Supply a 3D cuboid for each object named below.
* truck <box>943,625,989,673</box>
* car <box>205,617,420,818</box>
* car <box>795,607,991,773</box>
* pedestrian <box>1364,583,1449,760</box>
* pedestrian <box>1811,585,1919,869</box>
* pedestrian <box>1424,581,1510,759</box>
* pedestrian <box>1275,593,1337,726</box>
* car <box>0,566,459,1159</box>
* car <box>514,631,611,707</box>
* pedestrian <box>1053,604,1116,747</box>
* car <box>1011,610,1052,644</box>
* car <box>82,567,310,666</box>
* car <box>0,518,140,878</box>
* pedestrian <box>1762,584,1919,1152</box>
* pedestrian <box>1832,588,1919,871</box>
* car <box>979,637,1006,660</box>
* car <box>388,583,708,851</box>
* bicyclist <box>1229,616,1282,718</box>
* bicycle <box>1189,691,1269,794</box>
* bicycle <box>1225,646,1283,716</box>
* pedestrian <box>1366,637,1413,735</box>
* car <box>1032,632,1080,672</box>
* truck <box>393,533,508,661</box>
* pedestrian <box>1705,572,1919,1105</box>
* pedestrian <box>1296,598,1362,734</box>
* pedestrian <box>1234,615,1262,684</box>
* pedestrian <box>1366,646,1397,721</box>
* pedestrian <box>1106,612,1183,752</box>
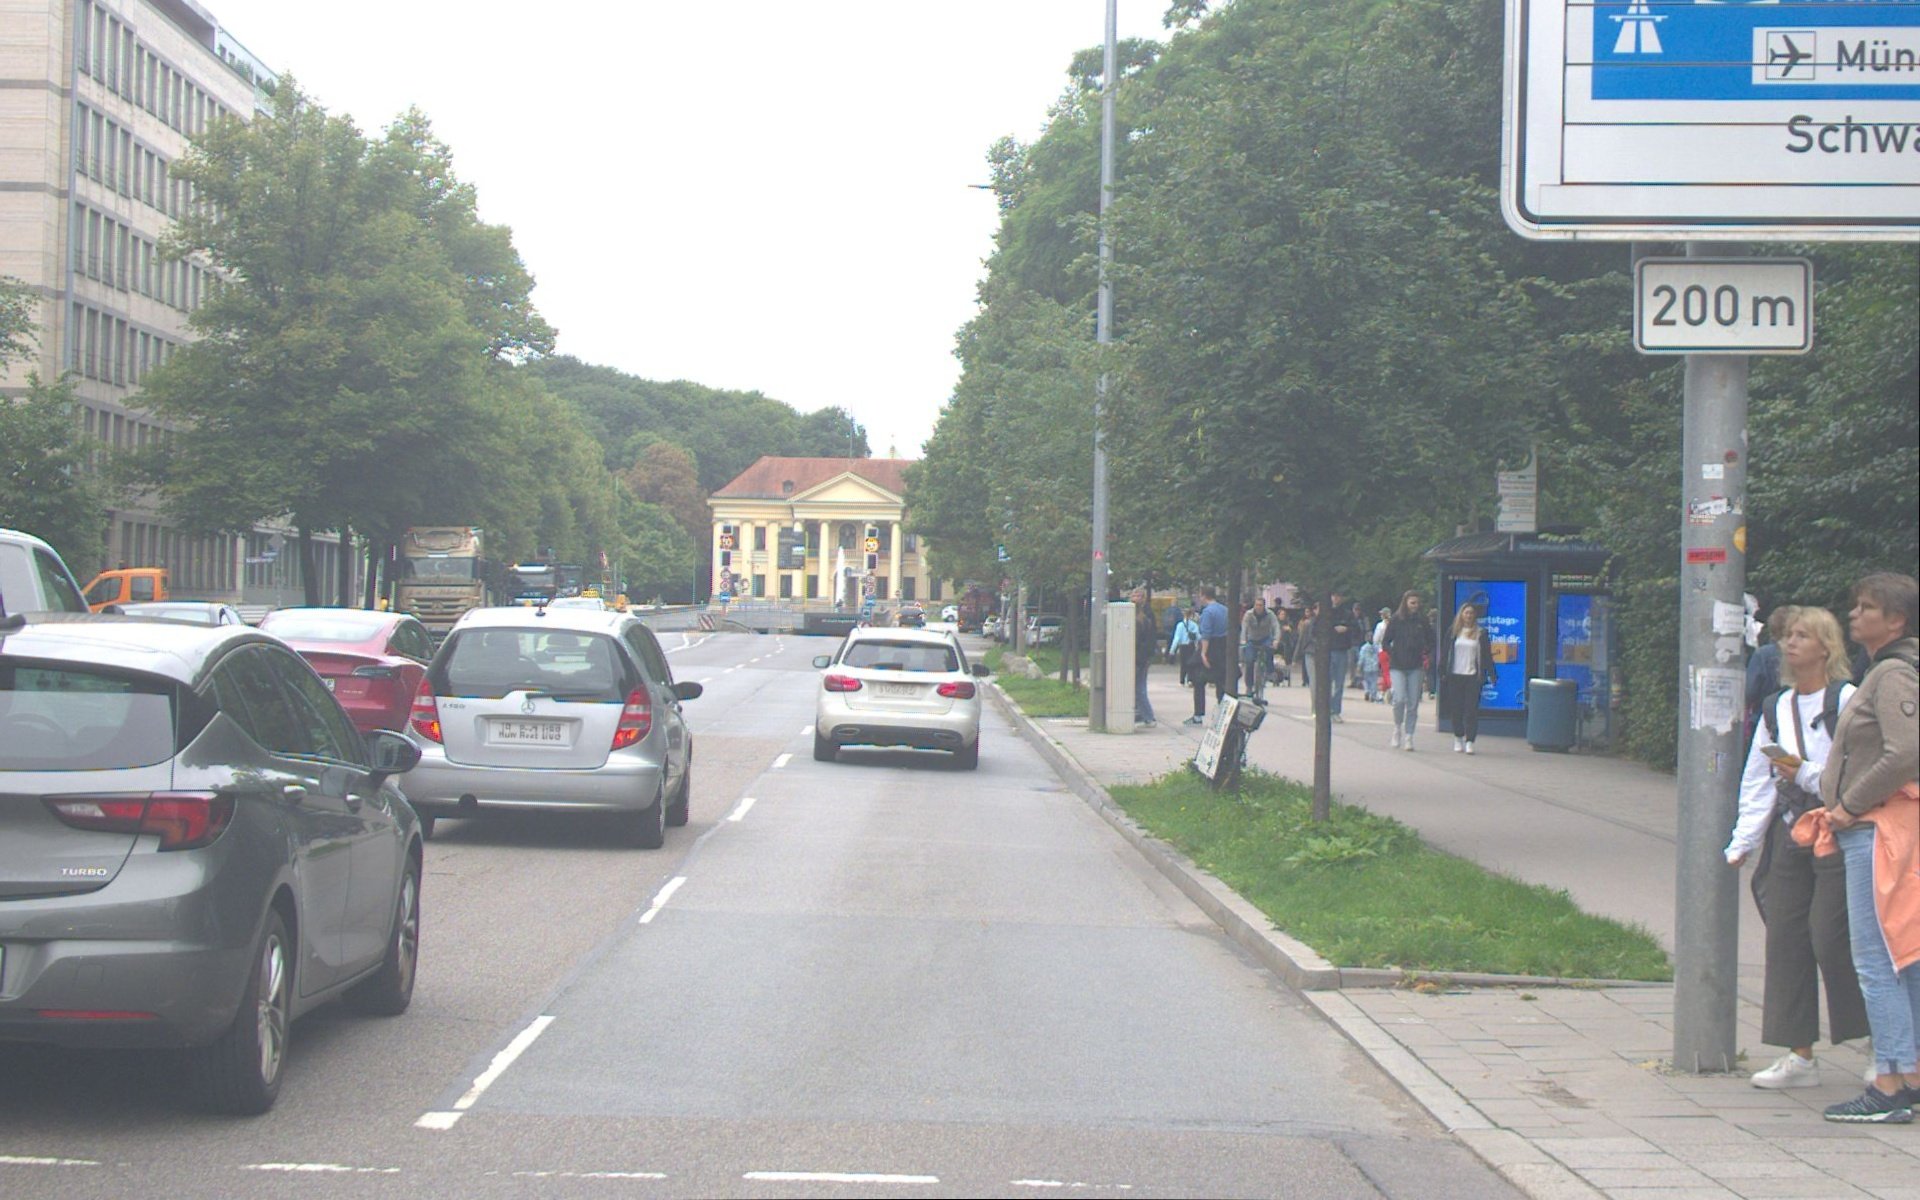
[{"bbox_3d":[0.417,3.726,264.449,3.325,3.355,8.662,3,0,-1],"label":"truck"},{"bbox_3d":[-6.007,1.048,32.234,1.779,1.648,4.001,3,0,-9],"label":"car"},{"bbox_3d":[-0.800,0.951,38.090,1.779,1.639,4.001,3,0,-6],"label":"car"},{"bbox_3d":[4.943,0.779,38.111,0.708,1.909,0.956,3,0,-1],"label":"pedestrian"},{"bbox_3d":[6.094,0.831,22.788,0.671,1.832,0.641,3,0,0],"label":"pedestrian"},{"bbox_3d":[5.600,0.762,38.009,0.708,1.909,0.956,3,0,-1],"label":"pedestrian"},{"bbox_3d":[4.837,0.825,48.058,0.708,1.802,0.639,3,0,-1],"label":"pedestrian"},{"bbox_3d":[-2.835,0.686,11.249,1.710,1.547,4.000,3,0,0],"label":"car"},{"bbox_3d":[-9.695,1.671,84.122,1.857,1.742,4.630,0,0,0],"label":"car"},{"bbox_3d":[1.607,0.964,44.430,0.708,1.802,0.639,3,0,-1],"label":"pedestrian"},{"bbox_3d":[3.189,1.208,154.279,1.724,1.460,4.775,1,0,0],"label":"car"},{"bbox_3d":[-20.508,0.438,92.484,5.679,2.528,2.157,1,0,-4],"label":"car"},{"bbox_3d":[-5.862,0.483,18.210,1.898,1.841,4.956,1,0,-1],"label":"car"},{"bbox_3d":[2.992,0.834,10.996,0.608,1.755,0.636,1,0,-7],"label":"pedestrian"},{"bbox_3d":[6.309,0.858,22.860,0.751,1.832,0.756,3,0,0],"label":"pedestrian"},{"bbox_3d":[2.156,3.195,227.096,1.724,1.319,4.028,1,1,0],"label":"car"},{"bbox_3d":[-2.806,0.753,24.194,1.779,1.648,4.000,3,0,-1],"label":"car"},{"bbox_3d":[4.673,1.058,54.387,0.708,1.556,0.639,3,0,-1],"label":"bicyclist"},{"bbox_3d":[2.334,1.228,29.949,0.493,0.791,1.890,3,0,0],"label":"bicycle"},{"bbox_3d":[4.648,1.269,54.411,0.675,1.027,2.013,3,0,-1],"label":"bicycle"},{"bbox_3d":[7.622,1.527,61.035,0.726,1.685,0.648,3,0,5],"label":"pedestrian"},{"bbox_3d":[3.935,2.118,142.077,1.827,1.544,4.751,1,0,0],"label":"car"},{"bbox_3d":[-15.984,-0.121,108.300,2.915,3.762,7.667,3,0,-5],"label":"truck"},{"bbox_3d":[2.954,0.790,11.688,0.624,1.755,0.636,1,0,-5],"label":"pedestrian"},{"bbox_3d":[5.024,0.894,46.853,0.708,1.802,0.950,3,0,-1],"label":"pedestrian"},{"bbox_3d":[7.737,1.326,92.310,0.588,1.816,0.850,3,0,0],"label":"pedestrian"},{"bbox_3d":[7.676,1.519,62.614,0.458,1.322,0.648,3,0,4],"label":"pedestrian"},{"bbox_3d":[2.538,1.122,47.273,0.805,1.874,0.543,3,0,36],"label":"pedestrian"}]
